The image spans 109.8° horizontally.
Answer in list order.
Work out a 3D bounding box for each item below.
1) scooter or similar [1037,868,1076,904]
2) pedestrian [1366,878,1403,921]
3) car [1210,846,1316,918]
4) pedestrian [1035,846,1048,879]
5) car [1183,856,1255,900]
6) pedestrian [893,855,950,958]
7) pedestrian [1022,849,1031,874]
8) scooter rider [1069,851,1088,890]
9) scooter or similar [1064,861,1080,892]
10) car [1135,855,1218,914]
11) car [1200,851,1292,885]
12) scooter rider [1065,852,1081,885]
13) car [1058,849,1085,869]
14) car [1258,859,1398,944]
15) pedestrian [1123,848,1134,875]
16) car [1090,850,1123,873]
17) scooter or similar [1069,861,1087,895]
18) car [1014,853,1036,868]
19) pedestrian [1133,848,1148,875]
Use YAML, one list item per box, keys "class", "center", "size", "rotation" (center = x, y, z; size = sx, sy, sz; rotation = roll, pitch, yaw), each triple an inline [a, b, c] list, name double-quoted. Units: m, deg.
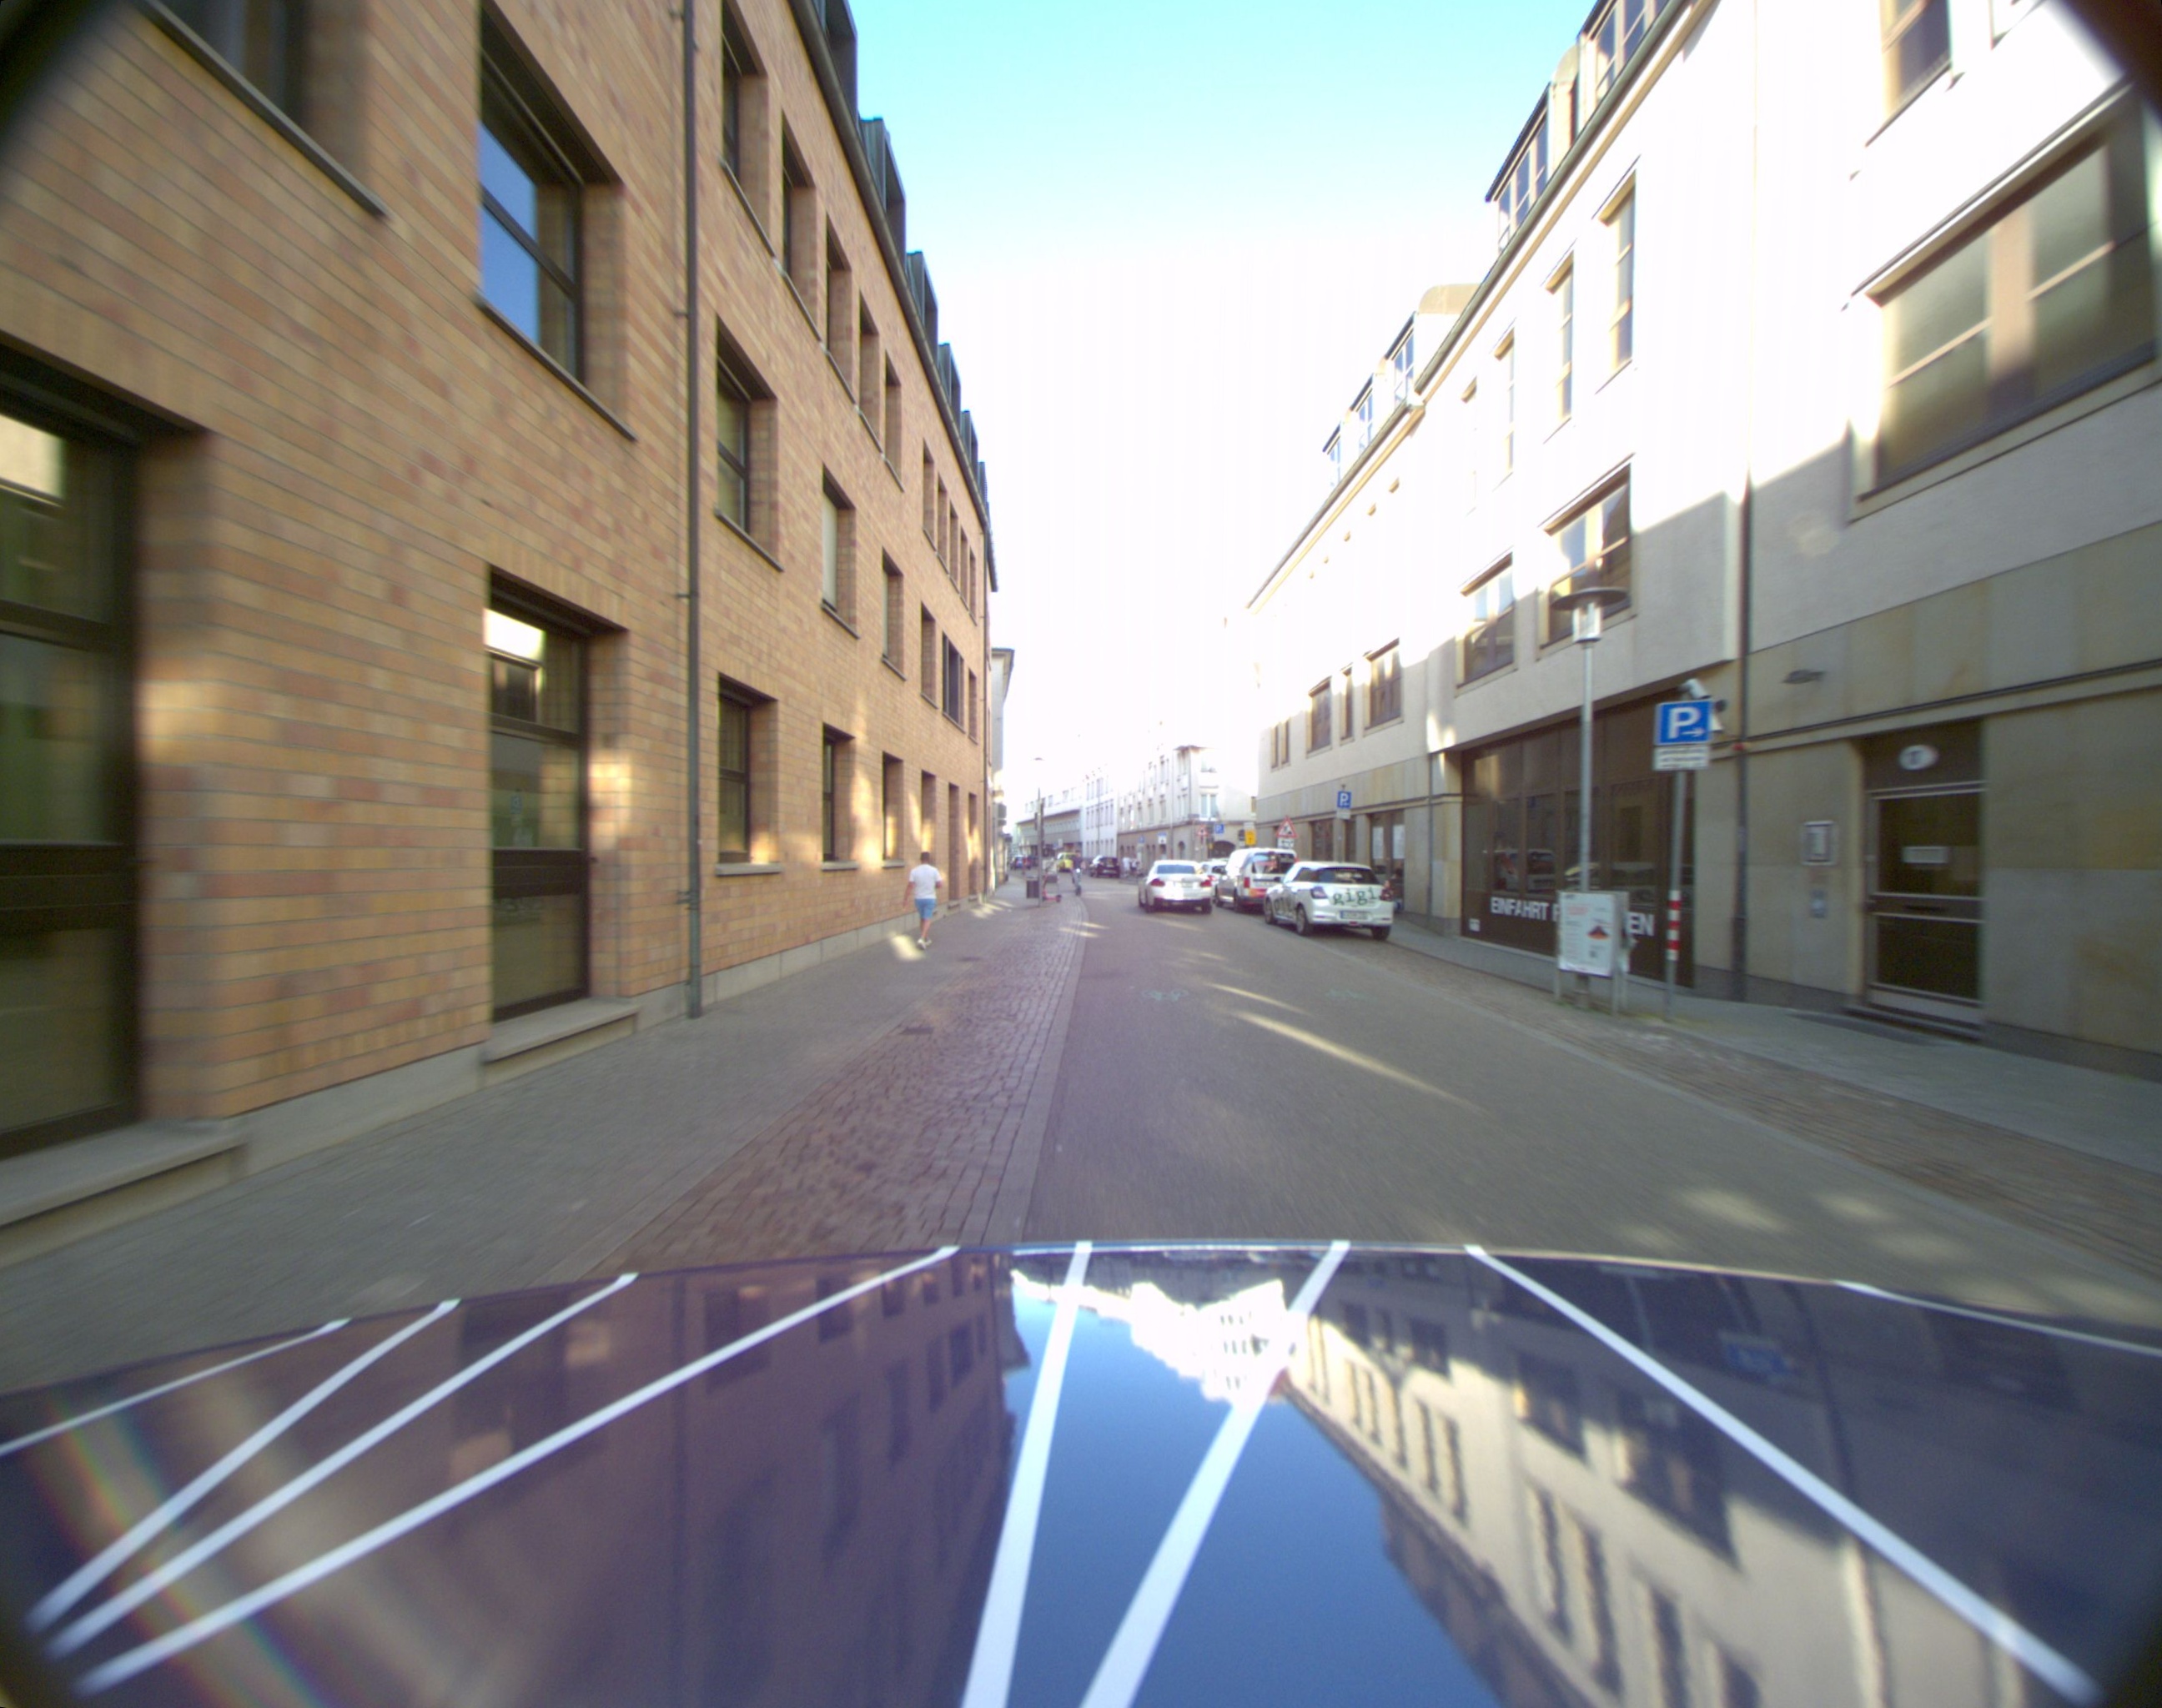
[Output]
- class: "scooter or similar"
  center: [-0.853, 1.120, 26.890]
  size: [0.537, 1.228, 1.422]
  rotation: [-1, 0, 39]
- class: "pedestrian"
  center: [7.612, 1.127, 19.066]
  size: [0.657, 1.029, 0.617]
  rotation: [0, 1, -4]
- class: "car"
  center: [5.211, 0.727, 22.412]
  size: [1.904, 1.847, 4.733]
  rotation: [1, 0, 0]
- class: "pedestrian"
  center: [-2.450, 0.527, 47.043]
  size: [0.716, 2.002, 0.698]
  rotation: [0, 1, -10]
- class: "car"
  center: [5.065, 0.845, 28.410]
  size: [1.742, 1.483, 3.798]
  rotation: [1, 0, -4]
- class: "pedestrian"
  center: [-2.759, 0.889, 13.220]
  size: [0.762, 1.706, 0.821]
  rotation: [2, 1, 1]
- class: "pedestrian"
  center: [-4.428, 0.578, 61.839]
  size: [0.716, 2.002, 0.698]
  rotation: [0, 1, -10]
- class: "scooter rider"
  center: [-0.090, 0.666, 31.762]
  size: [0.648, 1.585, 0.599]
  rotation: [-2, 2, -9]
- class: "scooter or similar"
  center: [-0.421, 1.015, 35.277]
  size: [0.550, 1.388, 1.554]
  rotation: [0, 1, -9]
- class: "car"
  center: [2.604, 0.787, 21.618]
  size: [1.719, 1.509, 4.159]
  rotation: [0, 0, -1]
- class: "car"
  center: [7.941, 0.663, 36.795]
  size: [3.998, 1.537, 1.763]
  rotation: [-1, 1, -2]
- class: "scooter rider"
  center: [-0.363, 0.678, 35.279]
  size: [0.592, 1.500, 0.599]
  rotation: [-2, 2, -9]
- class: "car"
  center: [-0.998, 0.434, 74.366]
  size: [1.890, 1.863, 3.995]
  rotation: [-1, 1, -12]
- class: "car"
  center: [5.104, 0.916, 16.248]
  size: [1.674, 1.513, 3.775]
  rotation: [2, 0, -1]
- class: "pedestrian"
  center: [3.509, 0.539, 56.171]
  size: [0.716, 2.002, 0.698]
  rotation: [0, 1, -10]
- class: "car"
  center: [1.944, 0.571, 58.475]
  size: [1.889, 1.694, 3.997]
  rotation: [1, 0, -7]
- class: "scooter or similar"
  center: [-0.128, 0.990, 31.782]
  size: [0.524, 1.388, 1.554]
  rotation: [0, 1, -9]
- class: "car"
  center: [-6.144, 0.697, 82.915]
  size: [1.857, 1.583, 3.803]
  rotation: [0, -1, -11]
- class: "pedestrian"
  center: [4.391, 0.538, 56.395]
  size: [0.938, 2.002, 0.698]
  rotation: [0, 1, -10]
